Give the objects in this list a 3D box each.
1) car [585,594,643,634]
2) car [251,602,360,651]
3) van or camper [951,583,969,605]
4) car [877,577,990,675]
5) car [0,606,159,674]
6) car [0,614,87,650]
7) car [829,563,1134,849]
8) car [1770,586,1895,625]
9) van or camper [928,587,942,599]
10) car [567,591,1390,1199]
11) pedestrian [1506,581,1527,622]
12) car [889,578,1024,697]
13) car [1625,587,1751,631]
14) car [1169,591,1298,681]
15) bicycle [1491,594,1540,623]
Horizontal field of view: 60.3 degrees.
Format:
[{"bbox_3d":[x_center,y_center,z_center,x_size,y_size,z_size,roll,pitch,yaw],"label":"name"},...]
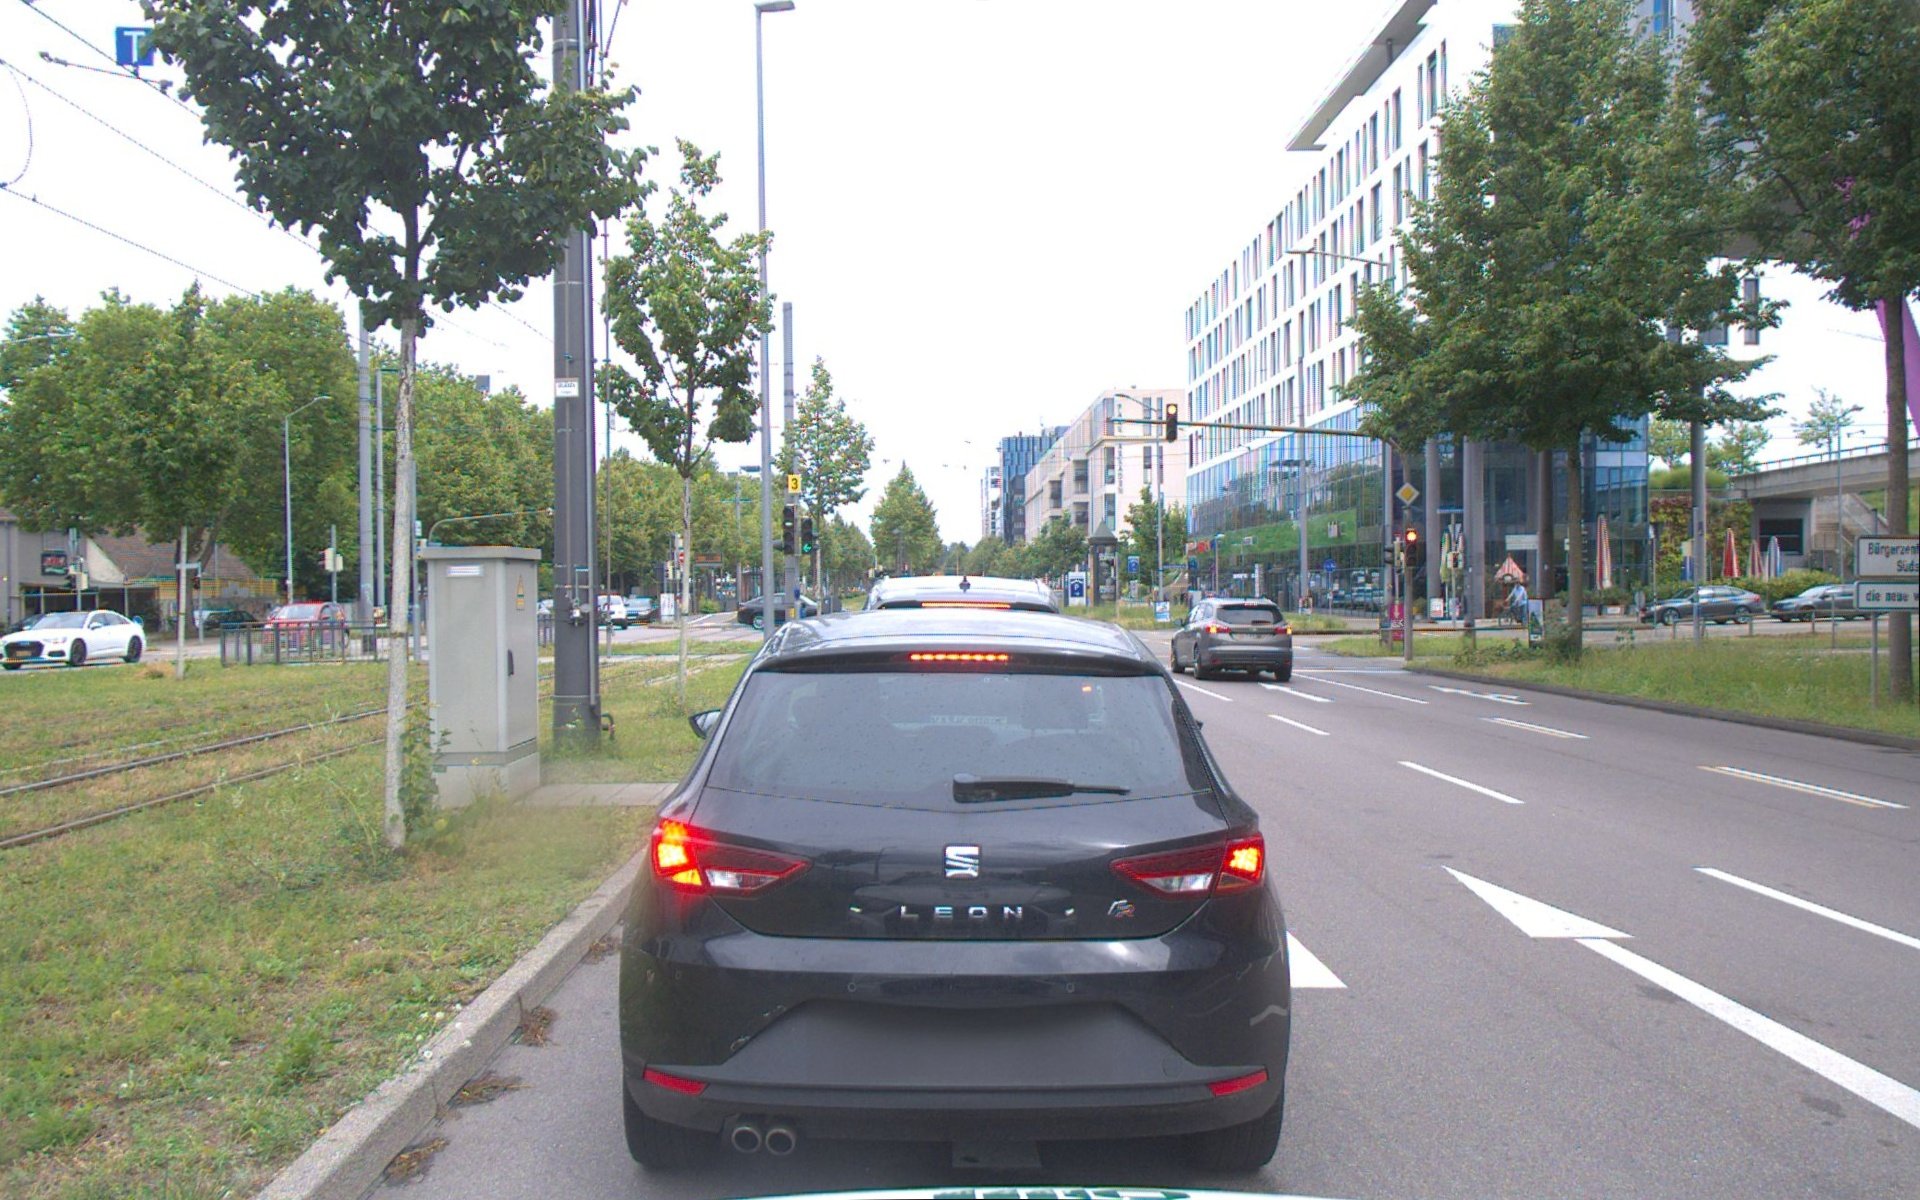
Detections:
[{"bbox_3d":[-16.278,0.632,77.928,1.953,1.780,4.199,-1,0,-2],"label":"car"},{"bbox_3d":[-20.383,0.788,51.669,1.775,1.401,4.268,-1,0,-2],"label":"car"},{"bbox_3d":[-0.010,-0.678,193.811,2.066,2.397,4.923,0,2,0],"label":"van or camper"},{"bbox_3d":[-0.434,0.434,31.126,1.952,1.711,4.001,1,1,1],"label":"car"},{"bbox_3d":[-23.511,1.016,44.135,1.774,1.616,5.077,-1,0,0],"label":"car"},{"bbox_3d":[-50.474,1.756,90.626,4.190,1.847,2.108,-1,0,3],"label":"car"},{"bbox_3d":[0.097,0.606,11.688,1.766,1.653,3.999,-1,0,-1],"label":"car"},{"bbox_3d":[34.422,0.196,65.287,3.996,1.480,1.758,-1,0,1],"label":"car"},{"bbox_3d":[-3.664,-0.961,239.934,1.953,1.643,4.789,0,1,0],"label":"van or camper"},{"bbox_3d":[-0.010,0.711,5.460,1.708,1.442,3.999,1,0,-2],"label":"car"},{"bbox_3d":[22.412,0.070,66.621,0.602,1.632,0.619,-1,0,1],"label":"pedestrian"},{"bbox_3d":[0.025,0.522,26.072,1.952,1.711,4.001,1,1,2],"label":"car"},{"bbox_3d":[28.515,0.349,64.878,4.163,1.643,1.758,-1,0,1],"label":"car"},{"bbox_3d":[5.146,0.633,31.579,1.712,1.525,4.268,0,1,-1],"label":"car"},{"bbox_3d":[22.365,0.341,66.621,1.755,1.104,0.618,-1,0,1],"label":"bicycle"}]
